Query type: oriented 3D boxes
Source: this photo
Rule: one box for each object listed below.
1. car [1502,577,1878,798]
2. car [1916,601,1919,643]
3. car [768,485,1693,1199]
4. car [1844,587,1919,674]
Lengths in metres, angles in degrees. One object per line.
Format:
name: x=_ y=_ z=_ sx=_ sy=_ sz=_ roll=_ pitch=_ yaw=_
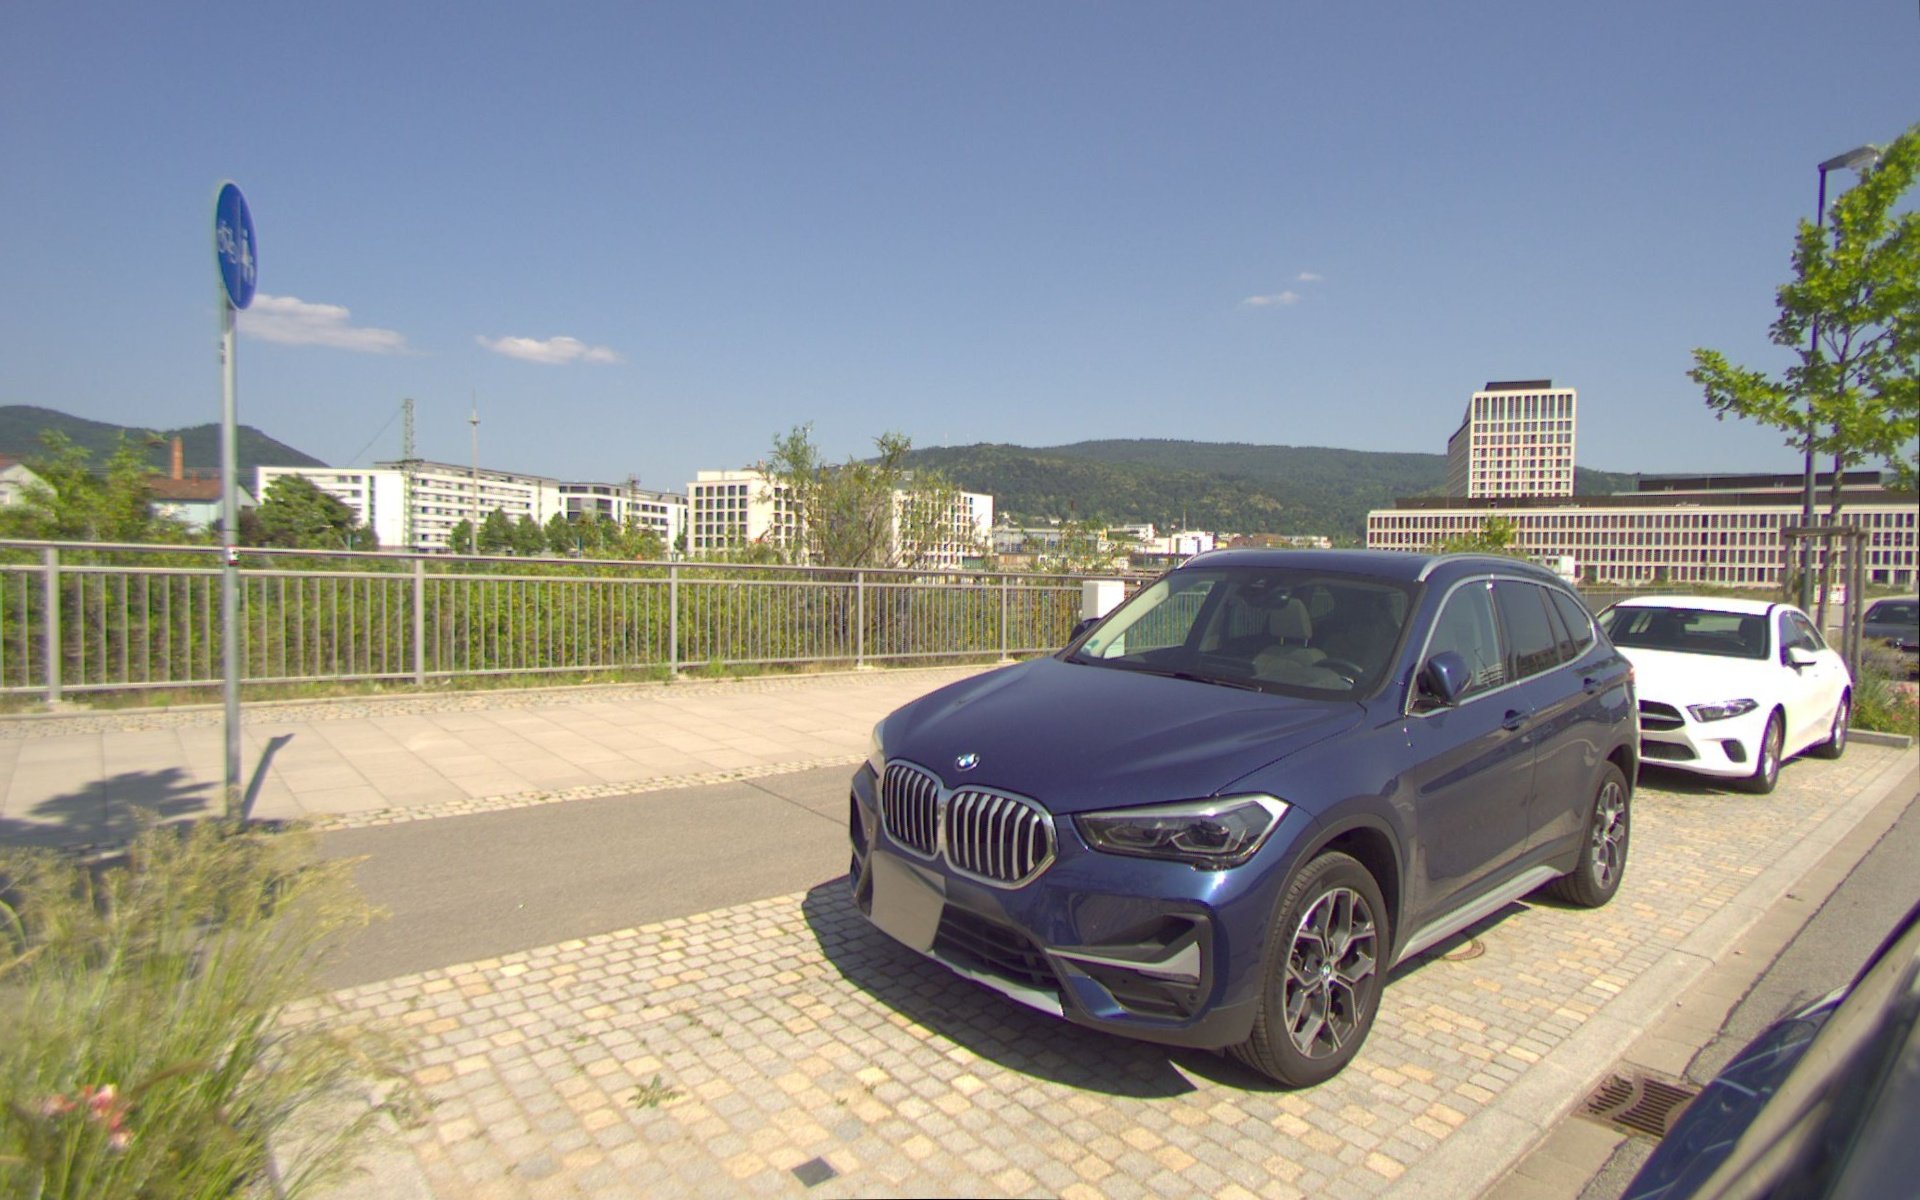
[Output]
car: x=6.562 y=0.564 z=8.917 sx=4.196 sy=1.390 sz=1.710 roll=-1 pitch=5 yaw=-41
car: x=26.137 y=0.407 z=26.258 sx=2.955 sy=1.491 sz=1.569 roll=-1 pitch=5 yaw=-41
car: x=1.478 y=0.512 z=4.397 sx=4.196 sy=1.703 sz=1.807 roll=-1 pitch=4 yaw=-41
car: x=18.077 y=0.535 z=18.881 sx=3.848 sy=1.449 sz=1.808 roll=-1 pitch=5 yaw=-41
